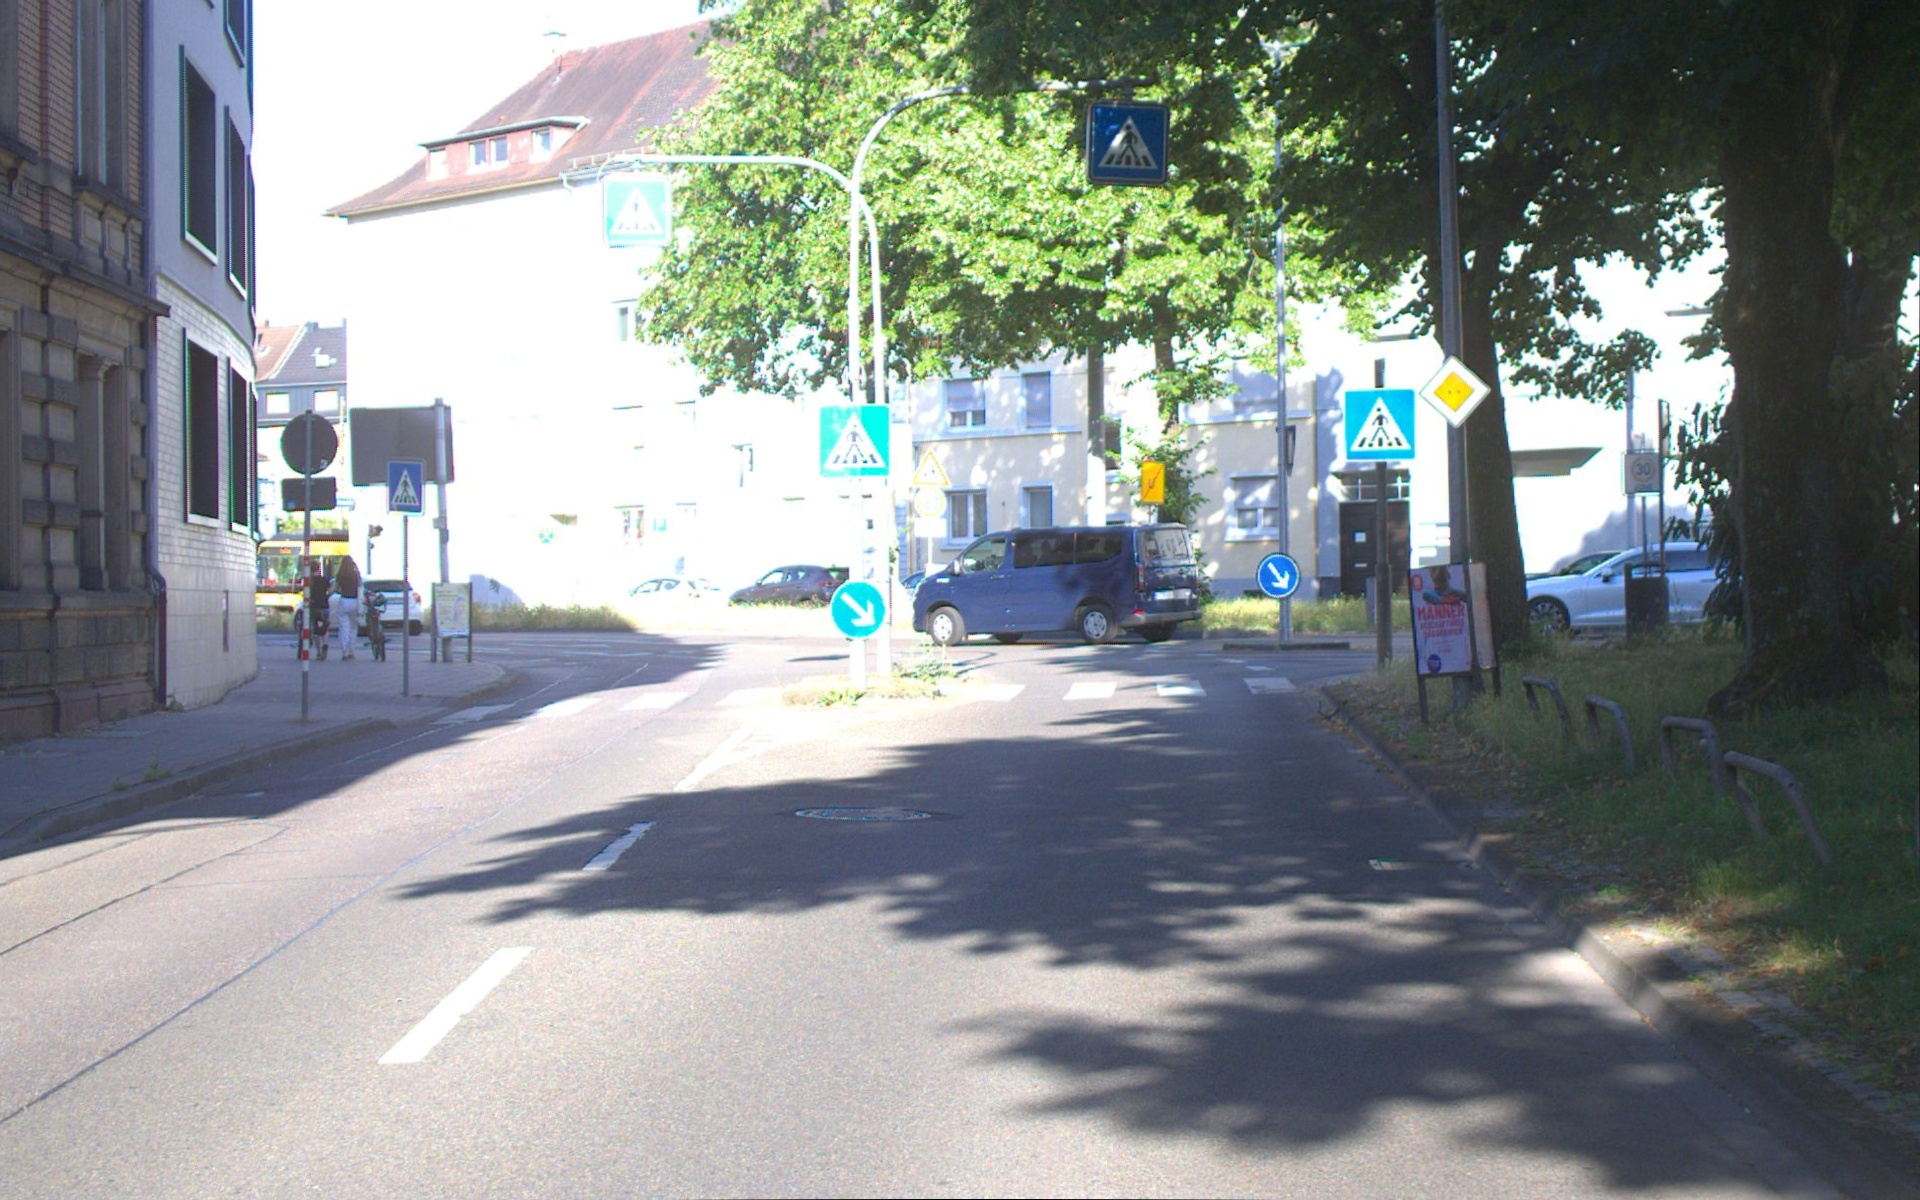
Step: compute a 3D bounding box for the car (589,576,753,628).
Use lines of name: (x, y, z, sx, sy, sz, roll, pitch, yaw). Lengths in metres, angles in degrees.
car: (-7.933, 0.037, 94.019, 4.443, 1.382, 1.995, 0, 1, 43)

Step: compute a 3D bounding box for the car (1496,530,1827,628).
car: (10.859, -0.329, 53.223, 4.762, 1.458, 1.853, 0, 1, 22)

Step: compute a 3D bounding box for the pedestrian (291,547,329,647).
pedestrian: (-10.322, -0.048, 54.603, 0.474, 1.559, 0.602, 1, 0, -19)

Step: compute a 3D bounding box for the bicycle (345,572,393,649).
bicycle: (-9.374, 0.159, 54.499, 0.440, 1.174, 1.967, 0, 1, -18)

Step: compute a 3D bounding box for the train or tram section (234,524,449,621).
train or tram section: (-23.494, -1.029, 131.301, 2.779, 3.543, 9.906, 0, 0, 26)

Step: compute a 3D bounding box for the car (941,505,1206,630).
car: (1.875, -0.540, 57.224, 3.995, 2.007, 1.996, 0, 0, 37)

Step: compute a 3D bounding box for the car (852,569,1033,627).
car: (-0.463, -0.059, 86.001, 1.995, 1.382, 4.443, -1, 1, -44)

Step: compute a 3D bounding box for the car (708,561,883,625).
car: (-4.339, -0.176, 90.180, 1.995, 1.567, 4.638, -1, 0, -44)

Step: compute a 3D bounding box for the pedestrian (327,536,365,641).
pedestrian: (-9.736, -0.175, 54.512, 0.474, 1.642, 0.602, -2, 0, -18)

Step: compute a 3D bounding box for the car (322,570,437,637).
car: (-13.848, 0.061, 81.863, 1.958, 1.500, 3.686, -2, 1, -21)

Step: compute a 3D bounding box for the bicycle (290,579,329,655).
bicycle: (-10.269, 0.253, 54.250, 0.375, 1.163, 1.838, -2, 1, -17)
